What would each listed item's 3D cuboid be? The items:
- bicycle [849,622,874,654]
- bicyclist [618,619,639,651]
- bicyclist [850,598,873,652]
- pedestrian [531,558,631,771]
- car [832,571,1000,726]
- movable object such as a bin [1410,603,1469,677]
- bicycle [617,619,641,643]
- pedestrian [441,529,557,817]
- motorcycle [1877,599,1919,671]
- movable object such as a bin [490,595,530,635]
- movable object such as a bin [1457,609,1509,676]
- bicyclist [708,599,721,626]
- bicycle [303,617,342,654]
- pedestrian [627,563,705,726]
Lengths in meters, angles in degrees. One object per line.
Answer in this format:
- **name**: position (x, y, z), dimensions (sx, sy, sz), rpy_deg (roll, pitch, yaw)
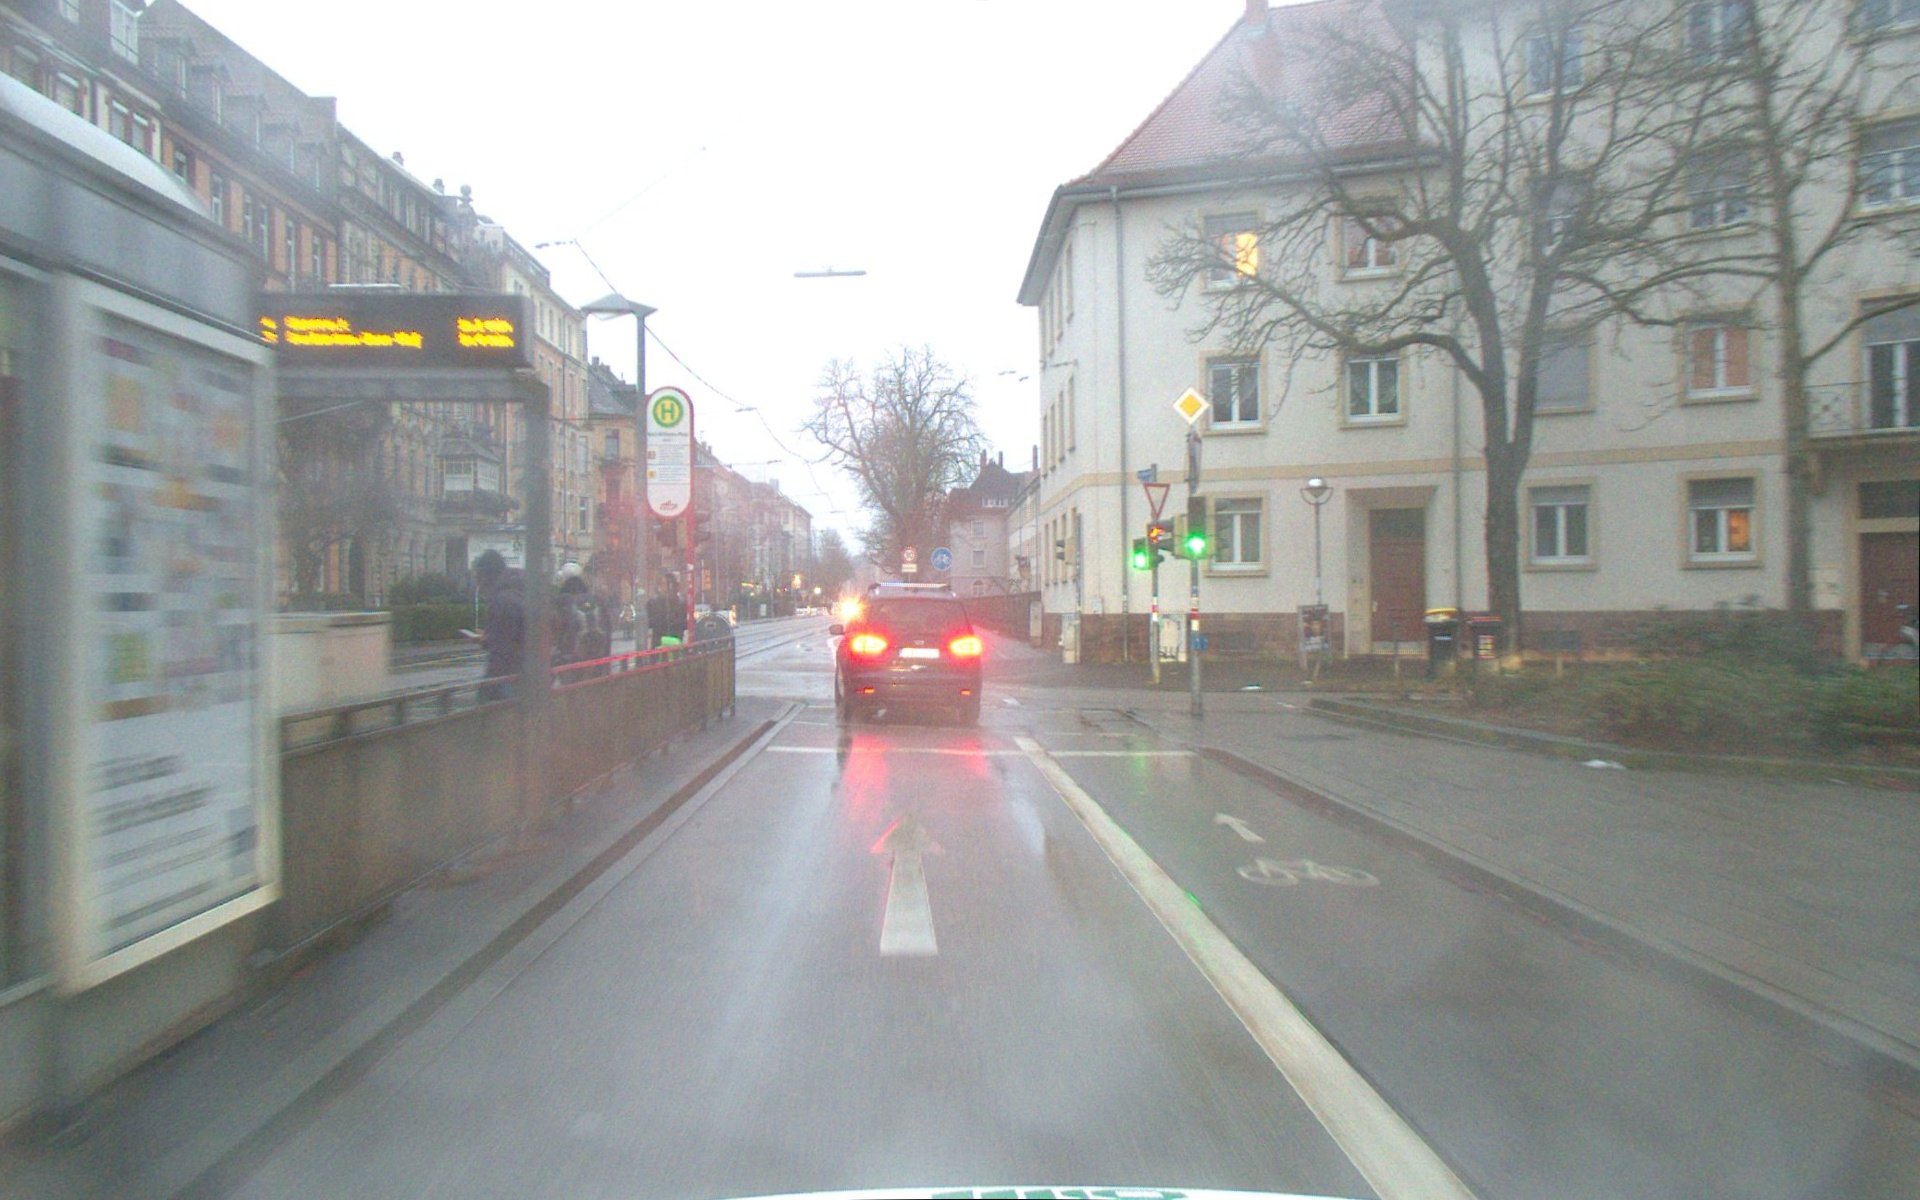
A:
- **bicycle**: position (-3.249, 1.236, 54.516), dimensions (0.716, 1.024, 1.763), rpy_deg (0, 0, 0)
- **bicyclist**: position (-14.448, 1.515, 72.129), dimensions (0.690, 1.388, 0.944), rpy_deg (1, -1, 0)
- **bicyclist**: position (-3.249, 0.824, 54.485), dimensions (0.715, 1.767, 0.765), rpy_deg (0, 0, -1)
- **pedestrian**: position (-3.191, 0.532, 13.955), dimensions (0.644, 1.738, 0.571), rpy_deg (2, 0, -1)
- **car**: position (-0.702, 0.615, 22.918), dimensions (1.768, 1.903, 4.010), rpy_deg (2, 0, -9)
- **movable object such as a bin**: position (8.561, 0.706, 29.554), dimensions (0.839, 1.273, 0.519), rpy_deg (2, -1, 41)
- **bicycle**: position (-14.436, 1.349, 72.086), dimensions (0.668, 1.024, 1.802), rpy_deg (-1, 0, 0)
- **pedestrian**: position (-3.049, 0.472, 10.977), dimensions (0.546, 1.839, 0.571), rpy_deg (2, -1, -1)
- **motorcycle**: position (15.675, 0.557, 26.525), dimensions (0.564, 1.124, 1.582), rpy_deg (-3, 2, -37)
- **movable object such as a bin**: position (-18.501, 0.595, 67.988), dimensions (1.218, 1.613, 1.308), rpy_deg (0, 0, 3)
- **movable object such as a bin**: position (9.184, 0.739, 29.025), dimensions (0.688, 1.139, 0.535), rpy_deg (2, -1, 41)
- **bicyclist**: position (-15.279, 0.762, 102.836), dimensions (0.670, 1.644, 0.765), rpy_deg (0, 0, -1)
- **bicycle**: position (-18.309, 0.998, 47.546), dimensions (0.407, 1.024, 1.849), rpy_deg (-1, 0, 0)
- **pedestrian**: position (-3.647, 0.544, 20.554), dimensions (0.672, 1.951, 0.718), rpy_deg (2, 0, 10)
